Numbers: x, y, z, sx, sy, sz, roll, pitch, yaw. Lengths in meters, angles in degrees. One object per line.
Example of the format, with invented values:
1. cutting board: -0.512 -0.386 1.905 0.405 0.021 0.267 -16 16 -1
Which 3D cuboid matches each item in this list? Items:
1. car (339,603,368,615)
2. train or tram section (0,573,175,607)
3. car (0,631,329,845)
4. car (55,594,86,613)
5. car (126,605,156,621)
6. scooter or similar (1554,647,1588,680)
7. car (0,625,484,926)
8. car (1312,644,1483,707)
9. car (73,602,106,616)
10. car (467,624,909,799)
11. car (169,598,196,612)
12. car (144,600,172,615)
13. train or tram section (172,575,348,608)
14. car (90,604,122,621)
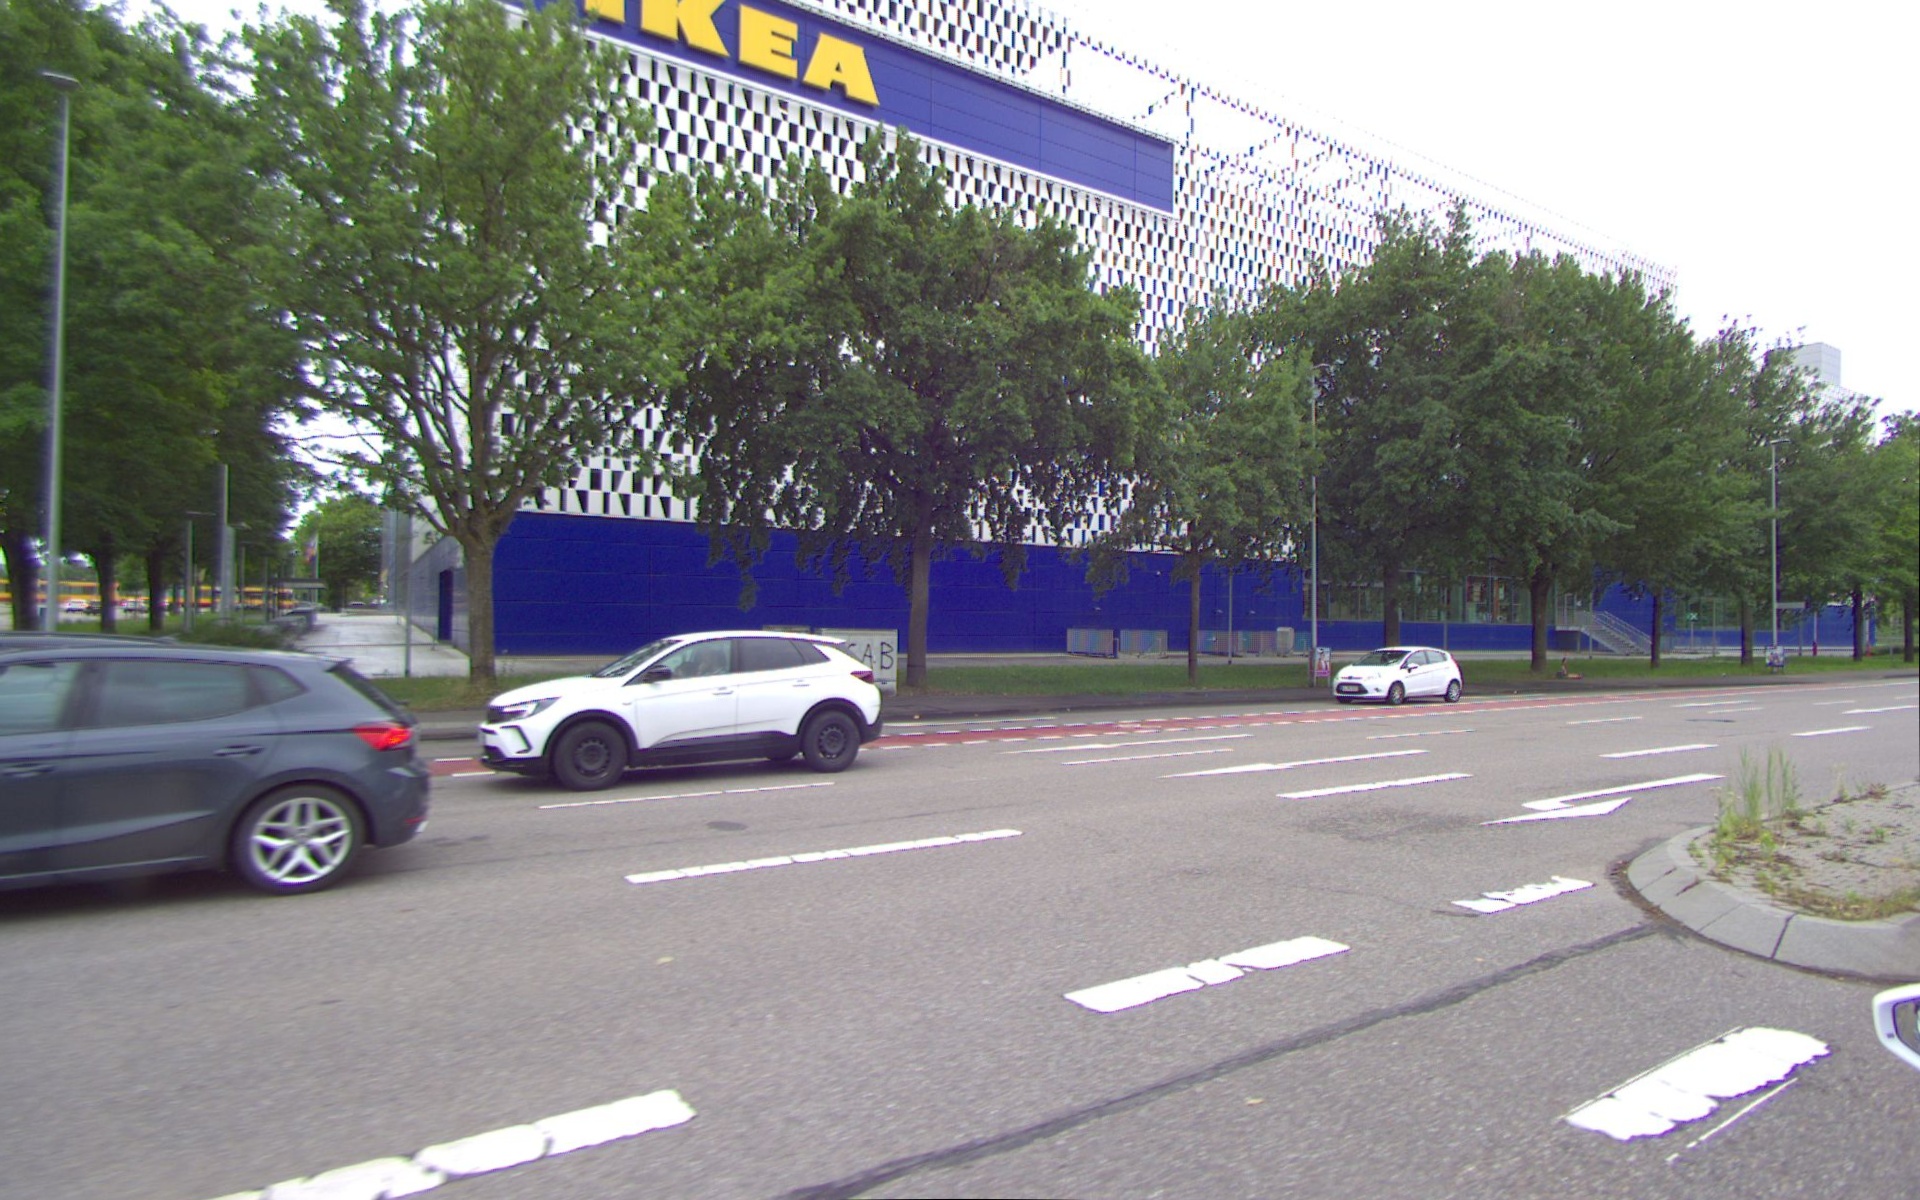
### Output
1. car: -87.134 1.335 144.367 3.527 1.662 1.728 -1 1 -32
2. train or tram section: -131.549 -1.424 149.454 23.026 4.903 3.601 0 0 -32
3. car: -7.748 1.038 7.997 4.551 1.564 1.869 3 -4 -34
4. car: -104.226 0.427 117.719 1.977 2.249 3.967 1 -1 -31
5. car: -98.631 1.571 121.018 1.824 1.911 3.900 2 -2 -25
6. scooter or similar: 24.182 2.497 39.742 1.364 1.212 0.651 1 0 -34
7. car: -5.217 0.919 5.815 4.284 1.481 1.847 1 -3 -33
8. car: 11.552 1.942 26.488 4.277 1.481 1.850 0 -3 -28
9. car: -96.441 1.052 111.364 1.764 1.471 3.907 2 -1 -26
10. car: -3.036 1.127 11.497 4.526 1.615 1.983 1 -3 -32
11. car: -103.588 0.640 133.860 1.822 1.742 3.902 -1 1 -23
12. car: -101.008 0.972 126.519 1.823 1.911 3.900 0 -1 -25
13. train or tram section: -112.105 -1.262 161.723 23.026 4.903 3.601 0 0 -32
14. car: -90.717 1.317 106.757 1.827 1.677 4.326 3 -1 -30
